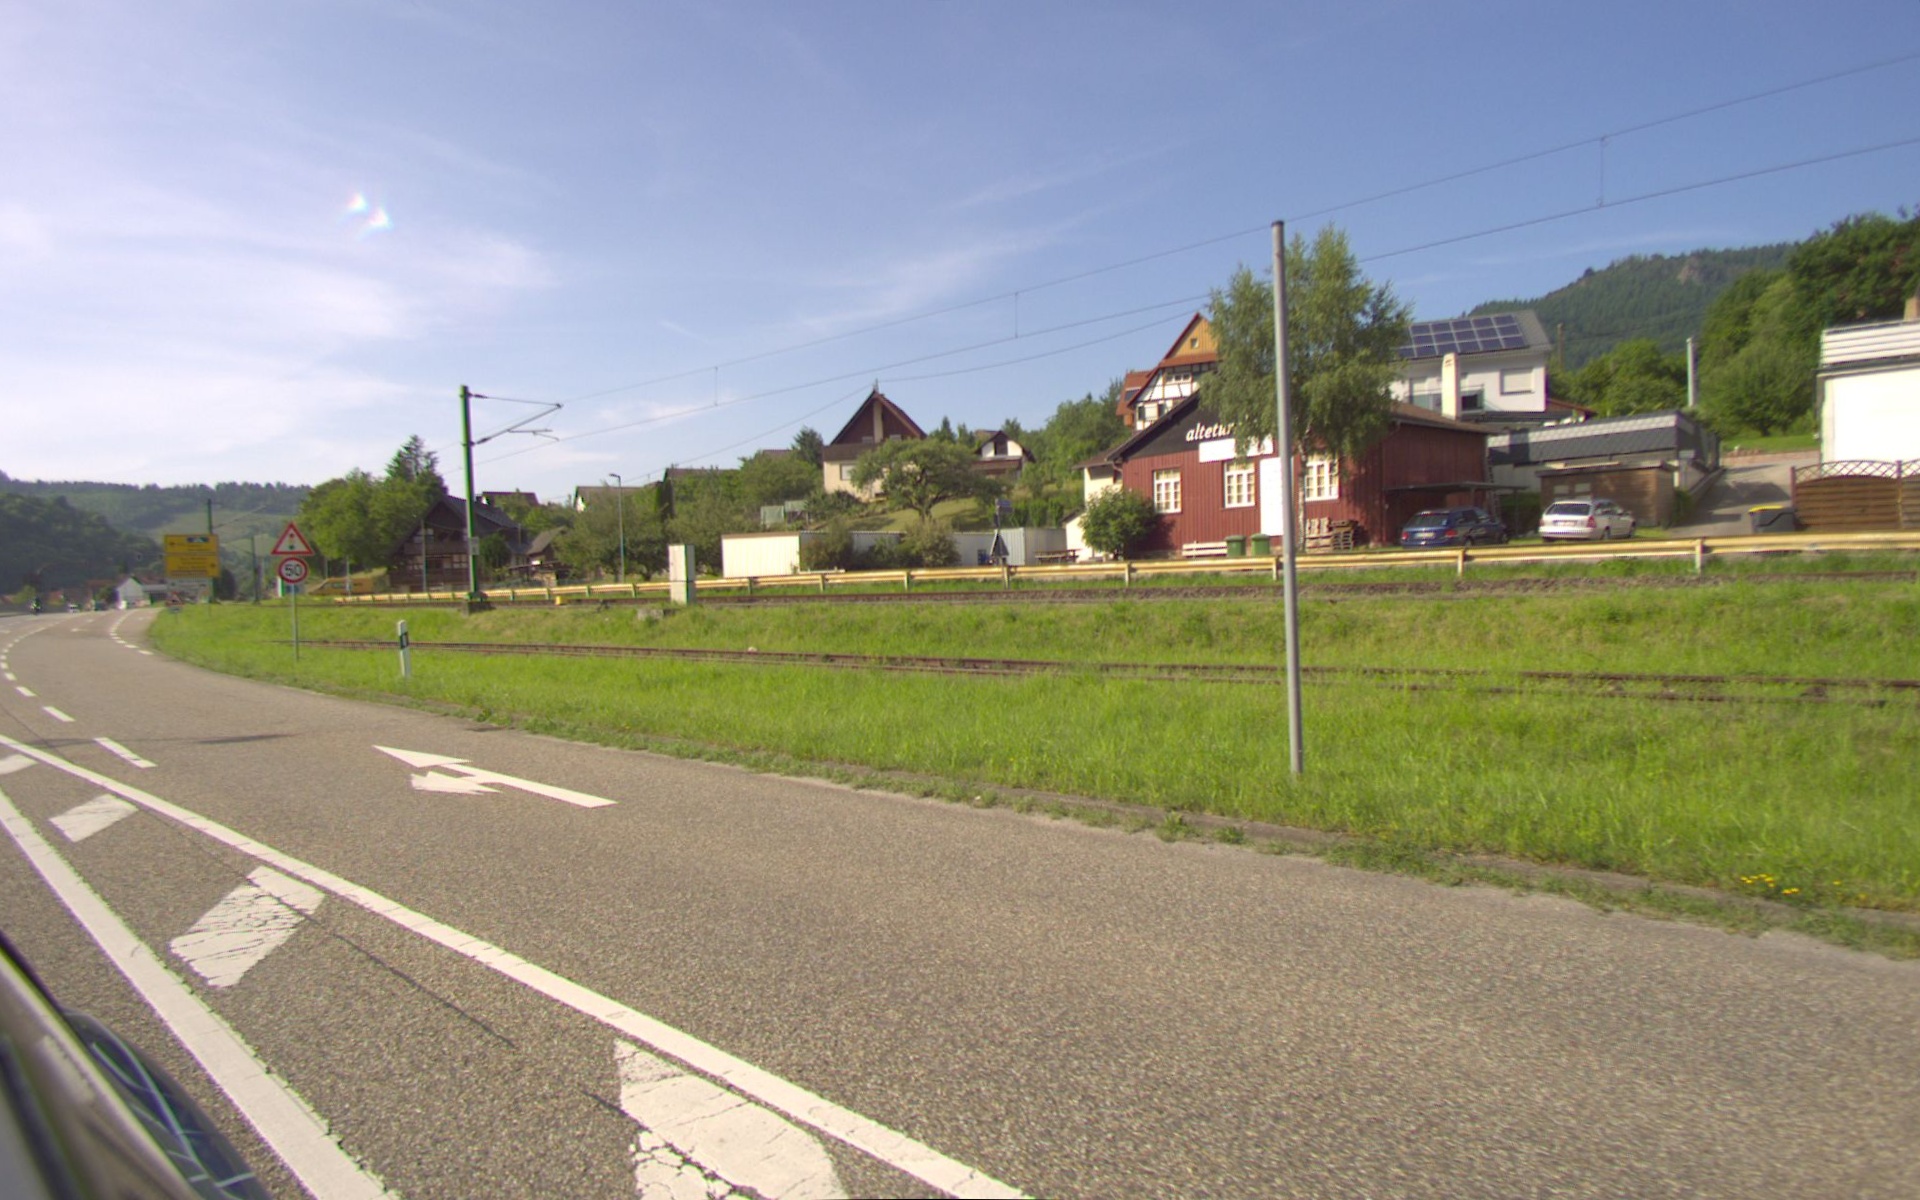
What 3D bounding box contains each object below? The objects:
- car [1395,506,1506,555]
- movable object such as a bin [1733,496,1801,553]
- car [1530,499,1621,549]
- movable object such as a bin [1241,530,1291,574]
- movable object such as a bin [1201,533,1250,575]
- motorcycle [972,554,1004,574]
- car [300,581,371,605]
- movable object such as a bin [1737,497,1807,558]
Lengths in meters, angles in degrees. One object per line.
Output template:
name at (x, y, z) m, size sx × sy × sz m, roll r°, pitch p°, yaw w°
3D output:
car at (14.922, -2.100, 30.692) m, size 4.048 × 1.280 × 1.738 m, roll -4°, pitch 2°, yaw -45°
movable object such as a bin at (18.111, -1.681, 22.711) m, size 1.142 × 1.200 × 1.079 m, roll -1°, pitch 2°, yaw 40°
car at (19.175, -2.339, 31.458) m, size 1.754 × 1.339 × 4.210 m, roll -2°, pitch 2°, yaw 40°
movable object such as a bin at (8.928, -1.406, 29.490) m, size 1.090 × 1.200 × 1.130 m, roll -1°, pitch 2°, yaw 34°
movable object such as a bin at (7.931, -1.372, 30.211) m, size 1.090 × 1.200 × 1.130 m, roll -1°, pitch 2°, yaw 34°
motorcycle at (1.522, -1.956, 55.094) m, size 1.744 × 1.000 × 0.655 m, roll -1°, pitch 2°, yaw 45°
car at (-75.221, -0.890, 122.018) m, size 6.966 × 2.475 × 2.958 m, roll -4°, pitch 2°, yaw -28°
movable object such as a bin at (17.454, -1.547, 21.760) m, size 1.142 × 1.200 × 1.079 m, roll -1°, pitch 2°, yaw 40°
